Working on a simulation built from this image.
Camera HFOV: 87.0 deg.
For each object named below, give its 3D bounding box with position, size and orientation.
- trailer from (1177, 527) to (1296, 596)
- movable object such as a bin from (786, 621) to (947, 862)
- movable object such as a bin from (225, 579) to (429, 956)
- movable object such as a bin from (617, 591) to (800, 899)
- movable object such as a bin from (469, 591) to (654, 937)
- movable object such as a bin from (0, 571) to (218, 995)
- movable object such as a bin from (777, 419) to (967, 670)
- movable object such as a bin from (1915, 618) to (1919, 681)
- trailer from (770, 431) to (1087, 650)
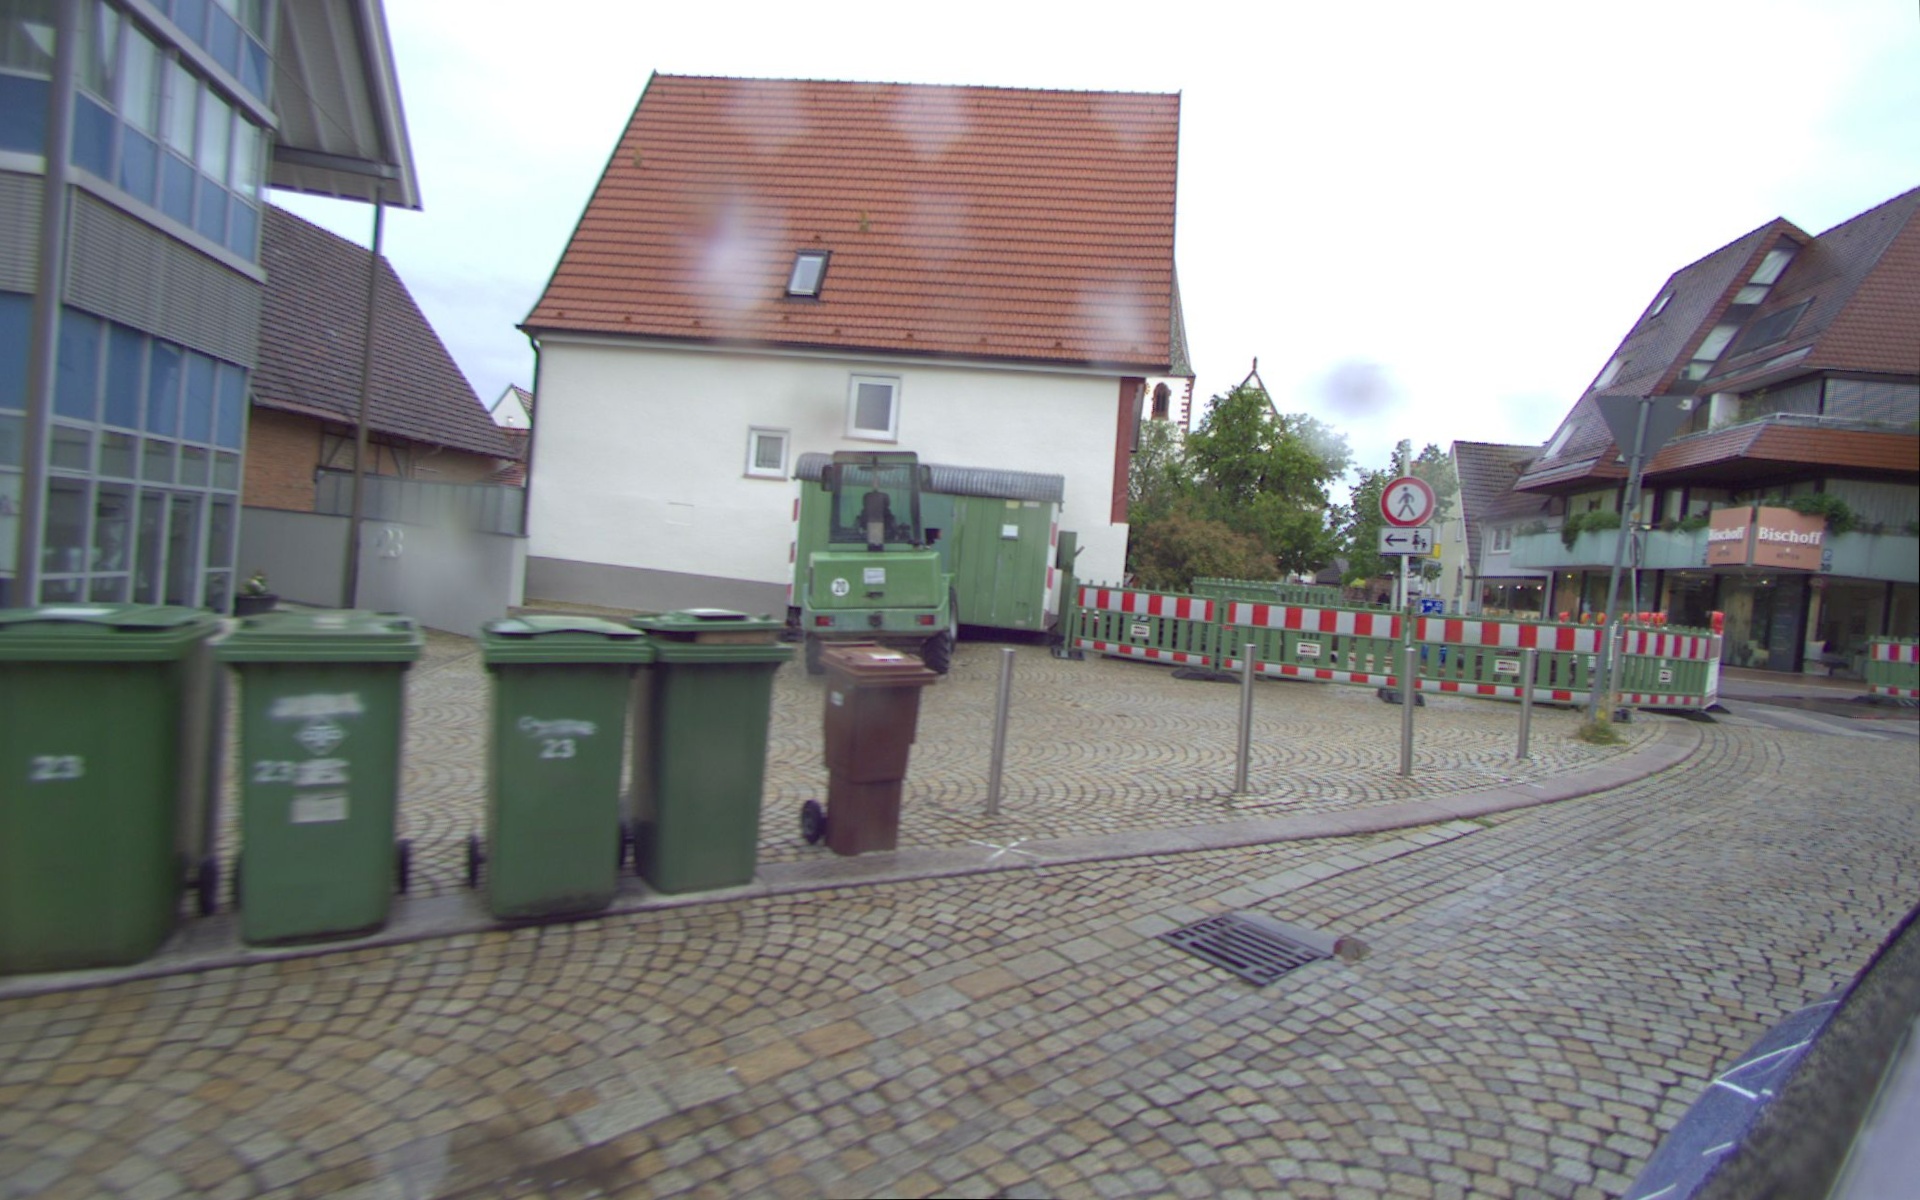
[{"bbox_3d":[14.627,-1.997,53.572,5.678,2.984,2.005,5,0,-16],"label":"trailer"},{"bbox_3d":[-0.446,0.623,4.762,0.489,1.003,0.561,1,3,-39],"label":"movable object such as a bin"},{"bbox_3d":[-2.150,0.517,3.480,0.531,1.140,0.562,1,2,-30],"label":"movable object such as a bin"},{"bbox_3d":[-1.055,0.552,4.210,0.540,1.140,0.562,1,2,-35],"label":"movable object such as a bin"},{"bbox_3d":[-1.498,0.556,3.774,0.539,1.140,0.562,1,2,-30],"label":"movable object such as a bin"},{"bbox_3d":[-2.700,0.514,3.155,0.539,1.174,0.562,1,2,-30],"label":"movable object such as a bin"},{"bbox_3d":[-0.926,-0.667,12.892,1.876,2.585,4.291,2,2,1],"label":"movable object such as a bin"},{"bbox_3d":[23.990,1.253,24.198,1.047,1.531,1.243,2,1,-4],"label":"movable object such as a bin"},{"bbox_3d":[-0.399,-0.913,16.420,4.552,2.871,2.489,5,0,5],"label":"trailer"}]
